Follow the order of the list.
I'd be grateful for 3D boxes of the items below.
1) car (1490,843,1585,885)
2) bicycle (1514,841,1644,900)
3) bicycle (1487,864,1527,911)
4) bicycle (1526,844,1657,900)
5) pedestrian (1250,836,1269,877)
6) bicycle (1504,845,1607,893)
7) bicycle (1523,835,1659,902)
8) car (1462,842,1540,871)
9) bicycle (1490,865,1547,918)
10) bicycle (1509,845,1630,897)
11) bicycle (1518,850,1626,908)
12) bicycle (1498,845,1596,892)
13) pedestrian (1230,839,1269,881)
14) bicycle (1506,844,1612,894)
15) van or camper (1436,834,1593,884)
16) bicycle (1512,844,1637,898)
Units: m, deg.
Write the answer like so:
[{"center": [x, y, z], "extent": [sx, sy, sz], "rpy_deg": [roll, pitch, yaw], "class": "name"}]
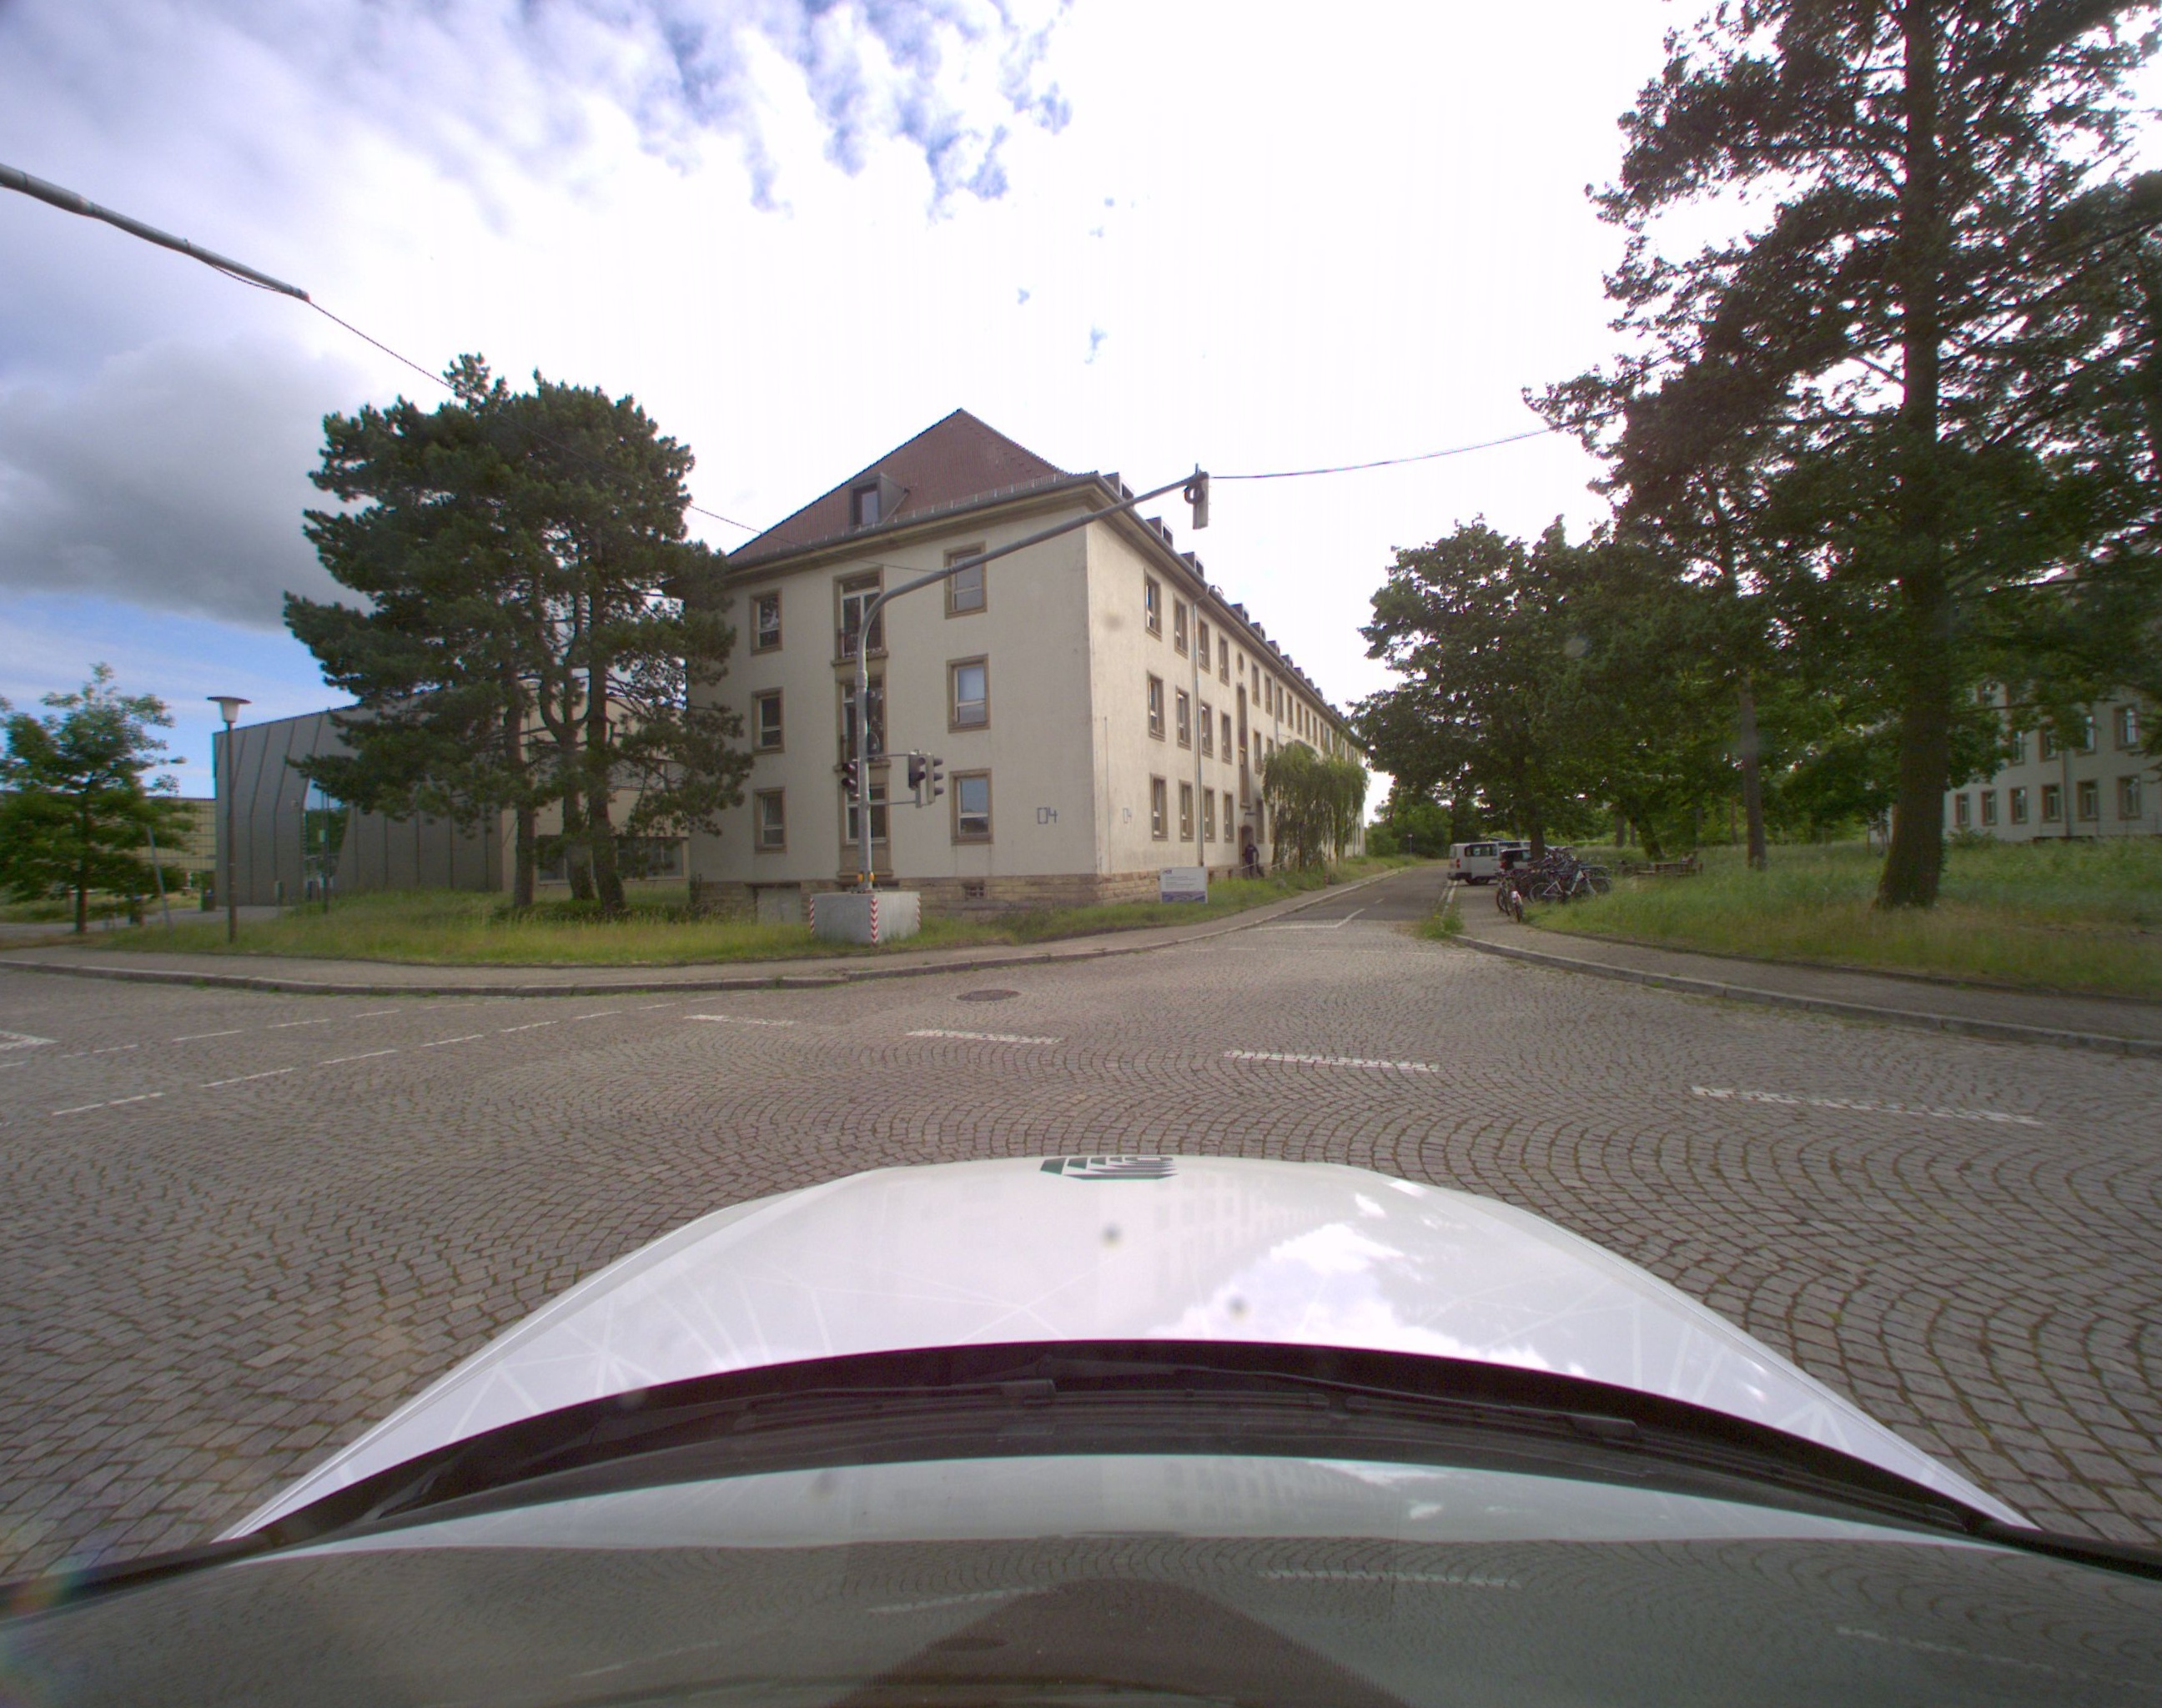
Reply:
[{"center": [18.334, 0.401, 32.862], "extent": [3.195, 1.621, 1.949], "rpy_deg": [-1, 0, 24], "class": "car"}, {"center": [12.106, 0.415, 19.926], "extent": [2.595, 1.367, 0.879], "rpy_deg": [-2, -1, 25], "class": "bicycle"}, {"center": [9.889, 0.760, 18.864], "extent": [0.720, 0.996, 1.991], "rpy_deg": [-2, -1, 30], "class": "bicycle"}, {"center": [13.307, 0.476, 21.362], "extent": [2.777, 1.372, 0.956], "rpy_deg": [-2, -1, 25], "class": "bicycle"}, {"center": [8.422, 0.124, 38.445], "extent": [0.859, 1.932, 0.840], "rpy_deg": [0, 0, 14], "class": "pedestrian"}, {"center": [14.230, 0.450, 24.520], "extent": [2.545, 1.372, 0.956], "rpy_deg": [-2, -1, 24], "class": "bicycle"}, {"center": [12.789, 0.383, 20.571], "extent": [2.777, 1.583, 0.956], "rpy_deg": [-2, -1, 25], "class": "bicycle"}, {"center": [25.036, 0.154, 48.674], "extent": [3.951, 1.600, 1.713], "rpy_deg": [-2, -1, 23], "class": "car"}, {"center": [9.058, 0.760, 16.928], "extent": [0.892, 0.996, 1.990], "rpy_deg": [-2, 0, 25], "class": "bicycle"}, {"center": [13.600, 0.478, 22.812], "extent": [2.777, 1.372, 0.956], "rpy_deg": [-2, -1, 25], "class": "bicycle"}, {"center": [11.678, 0.593, 19.449], "extent": [2.094, 1.306, 0.879], "rpy_deg": [-2, -1, 25], "class": "bicycle"}, {"center": [14.442, 0.450, 25.352], "extent": [2.545, 1.372, 0.956], "rpy_deg": [-2, -1, 24], "class": "bicycle"}, {"center": [7.800, 0.279, 37.740], "extent": [1.539, 1.870, 1.199], "rpy_deg": [0, 0, 1], "class": "pedestrian"}, {"center": [13.881, 0.450, 23.750], "extent": [2.545, 1.372, 0.956], "rpy_deg": [-2, -1, 24], "class": "bicycle"}, {"center": [19.008, 0.236, 36.047], "extent": [5.702, 1.957, 2.246], "rpy_deg": [-2, -1, 13], "class": "van or camper"}, {"center": [13.243, 0.478, 21.986], "extent": [2.777, 1.372, 0.956], "rpy_deg": [-2, -1, 25], "class": "bicycle"}]
